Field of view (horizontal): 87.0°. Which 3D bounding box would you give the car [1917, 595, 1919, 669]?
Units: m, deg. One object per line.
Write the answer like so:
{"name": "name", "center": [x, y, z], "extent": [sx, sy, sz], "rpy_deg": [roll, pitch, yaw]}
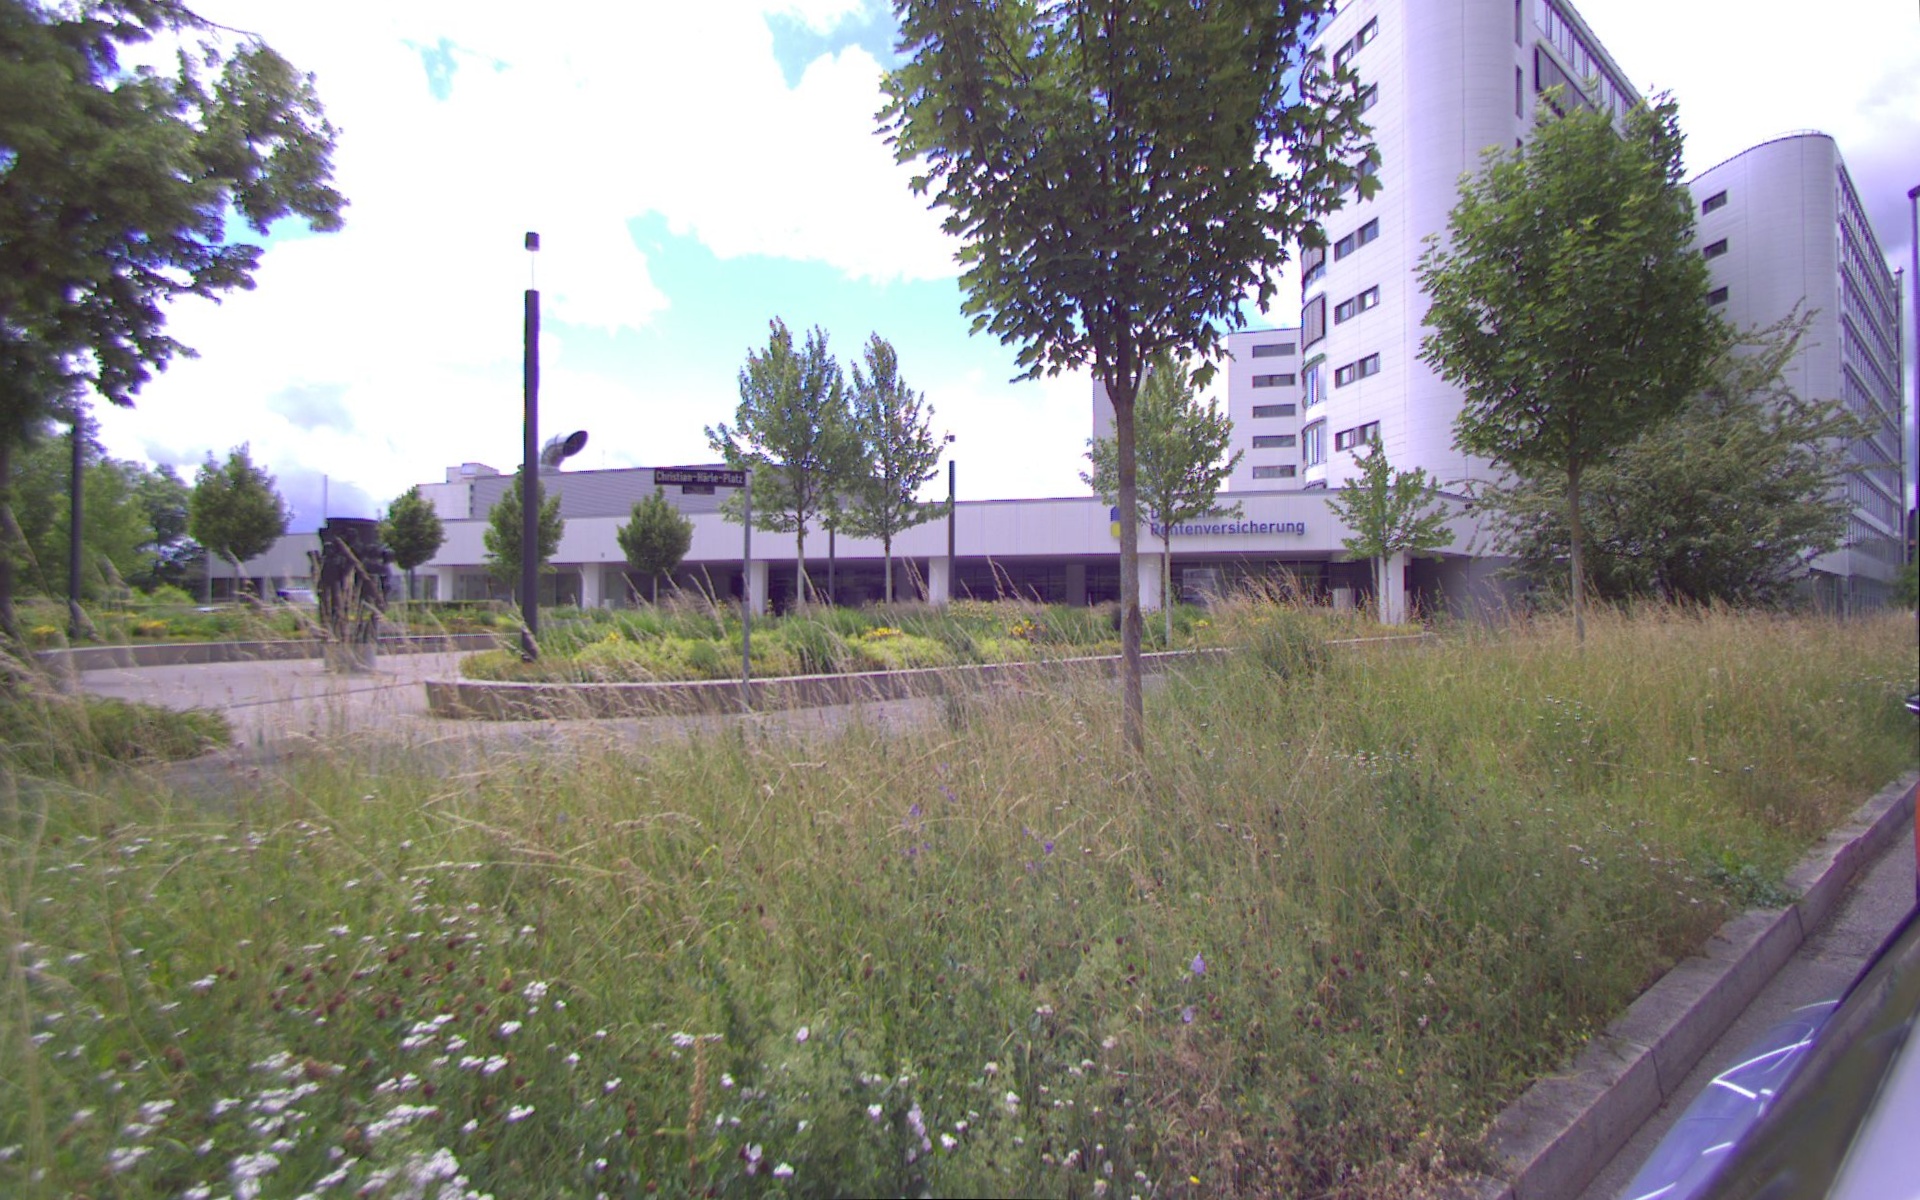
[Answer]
{"name": "car", "center": [22.623, 0.707, 22.476], "extent": [3.386, 1.594, 1.736], "rpy_deg": [0, 0, -42]}

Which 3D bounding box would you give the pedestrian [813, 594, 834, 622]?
{"name": "pedestrian", "center": [-6.425, 0.380, 47.539], "extent": [0.869, 1.290, 0.704], "rpy_deg": [1, 0, 2]}

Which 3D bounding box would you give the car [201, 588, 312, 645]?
{"name": "car", "center": [-23.367, 0.519, 33.614], "extent": [3.470, 1.788, 1.622], "rpy_deg": [0, 0, 27]}

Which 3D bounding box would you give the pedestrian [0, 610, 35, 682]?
{"name": "pedestrian", "center": [-17.452, 0.840, 18.671], "extent": [0.560, 1.278, 0.581], "rpy_deg": [0, 0, -43]}
